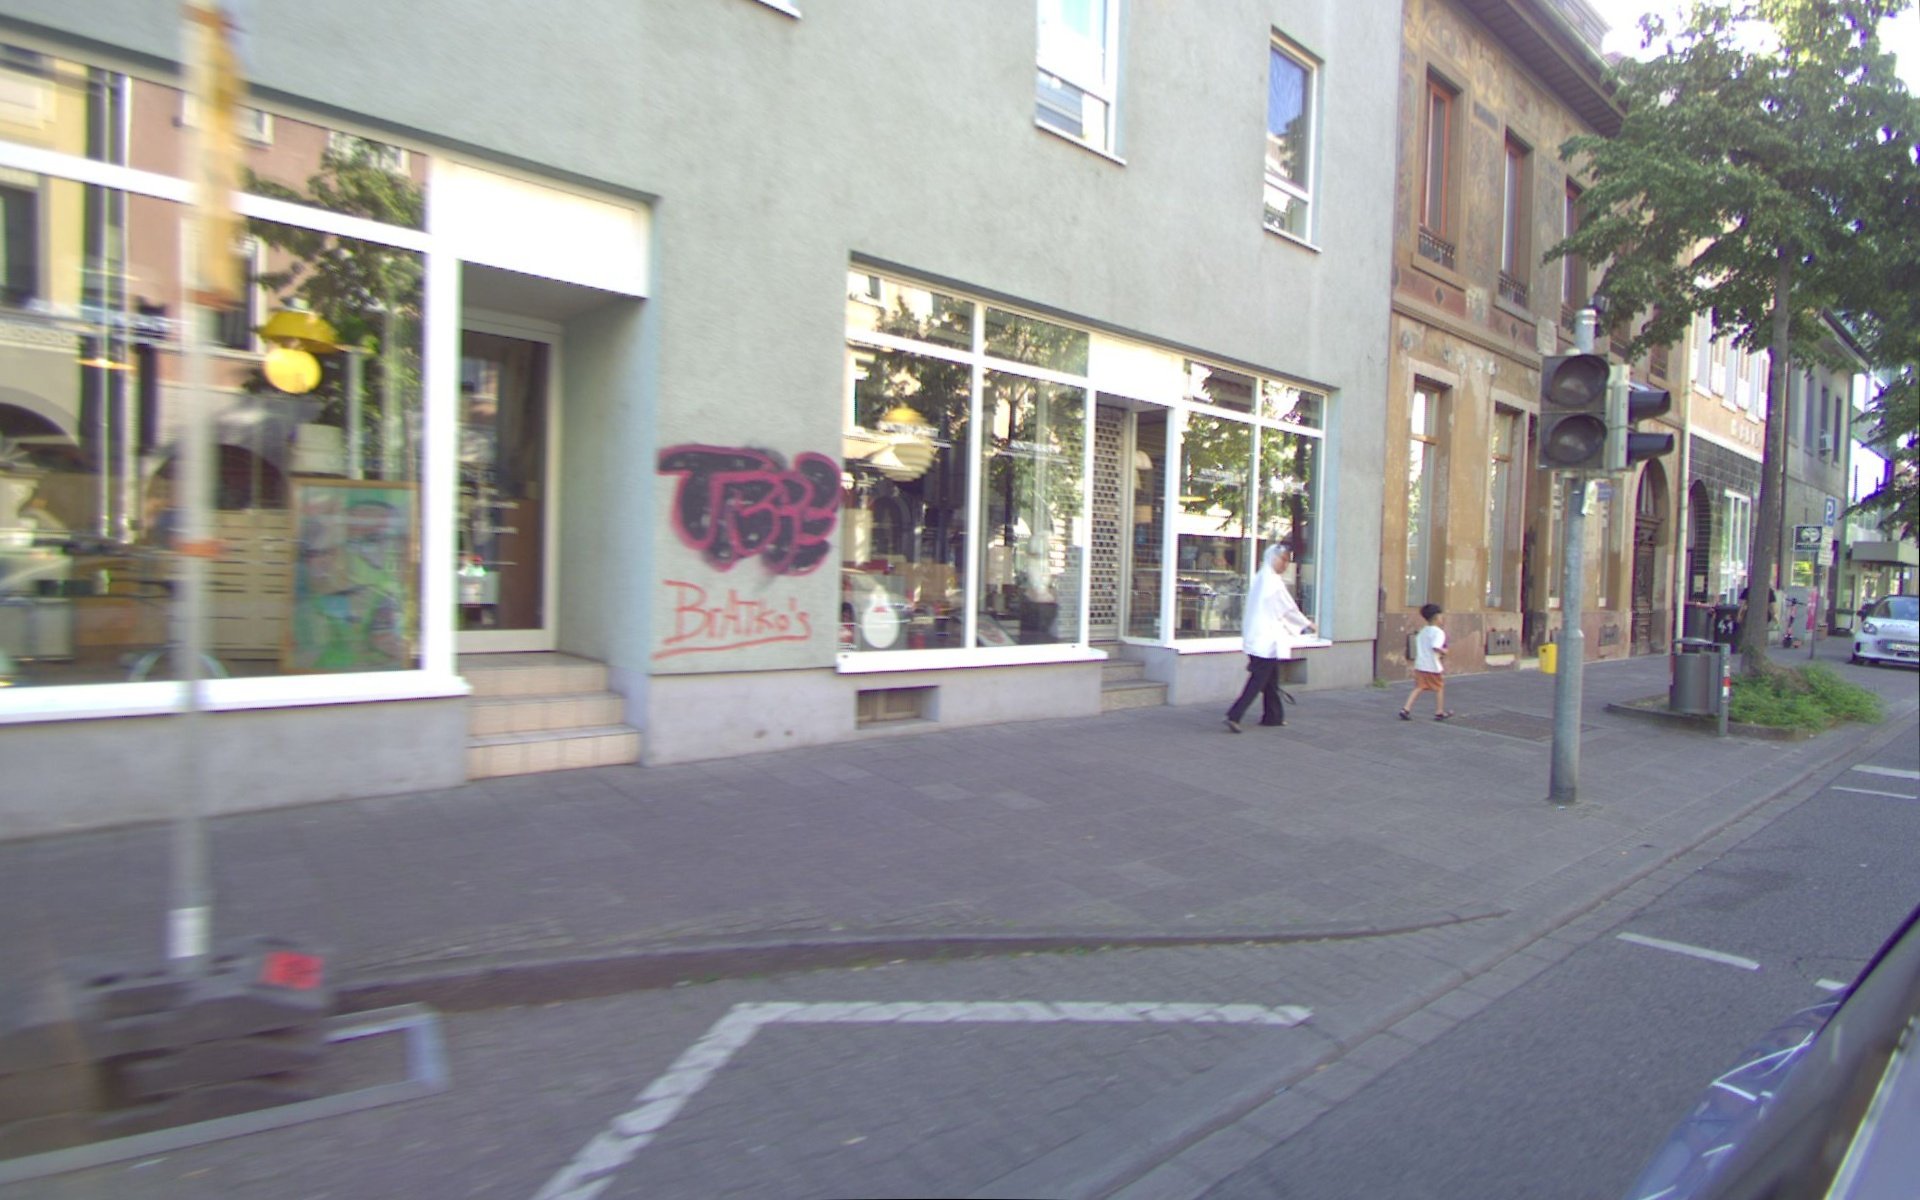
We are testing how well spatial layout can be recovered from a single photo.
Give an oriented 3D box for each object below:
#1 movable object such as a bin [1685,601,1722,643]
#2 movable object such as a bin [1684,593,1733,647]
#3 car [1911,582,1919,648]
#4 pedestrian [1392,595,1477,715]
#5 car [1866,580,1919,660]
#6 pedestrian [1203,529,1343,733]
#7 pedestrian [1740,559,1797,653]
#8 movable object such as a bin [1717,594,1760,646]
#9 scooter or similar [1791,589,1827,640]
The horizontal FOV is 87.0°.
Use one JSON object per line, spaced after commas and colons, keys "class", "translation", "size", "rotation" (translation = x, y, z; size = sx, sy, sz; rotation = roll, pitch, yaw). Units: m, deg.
{"class": "movable object such as a bin", "translation": [16.164, 0.479, 22.008], "size": [0.470, 0.871, 0.512], "rotation": [0, 2, -39]}
{"class": "movable object such as a bin", "translation": [15.348, 0.399, 20.756], "size": [0.709, 1.052, 0.590], "rotation": [0, 4, -40]}
{"class": "car", "translation": [24.810, 0.435, 24.861], "size": [4.161, 1.546, 1.618], "rotation": [0, 5, -42]}
{"class": "pedestrian", "translation": [4.467, 0.495, 9.523], "size": [0.727, 1.045, 0.394], "rotation": [0, 5, -42]}
{"class": "car", "translation": [20.352, 0.421, 21.211], "size": [3.008, 1.547, 1.617], "rotation": [0, 4, -42]}
{"class": "pedestrian", "translation": [2.622, 0.227, 8.472], "size": [1.003, 1.578, 0.582], "rotation": [0, 5, -42]}
{"class": "pedestrian", "translation": [16.102, 0.112, 20.158], "size": [0.757, 1.786, 0.624], "rotation": [0, 4, -40]}
{"class": "movable object such as a bin", "translation": [16.677, 0.421, 21.684], "size": [0.709, 1.052, 0.523], "rotation": [0, 4, -40]}
{"class": "scooter or similar", "translation": [20.956, 0.355, 24.983], "size": [1.147, 1.201, 0.400], "rotation": [0, 4, -40]}
